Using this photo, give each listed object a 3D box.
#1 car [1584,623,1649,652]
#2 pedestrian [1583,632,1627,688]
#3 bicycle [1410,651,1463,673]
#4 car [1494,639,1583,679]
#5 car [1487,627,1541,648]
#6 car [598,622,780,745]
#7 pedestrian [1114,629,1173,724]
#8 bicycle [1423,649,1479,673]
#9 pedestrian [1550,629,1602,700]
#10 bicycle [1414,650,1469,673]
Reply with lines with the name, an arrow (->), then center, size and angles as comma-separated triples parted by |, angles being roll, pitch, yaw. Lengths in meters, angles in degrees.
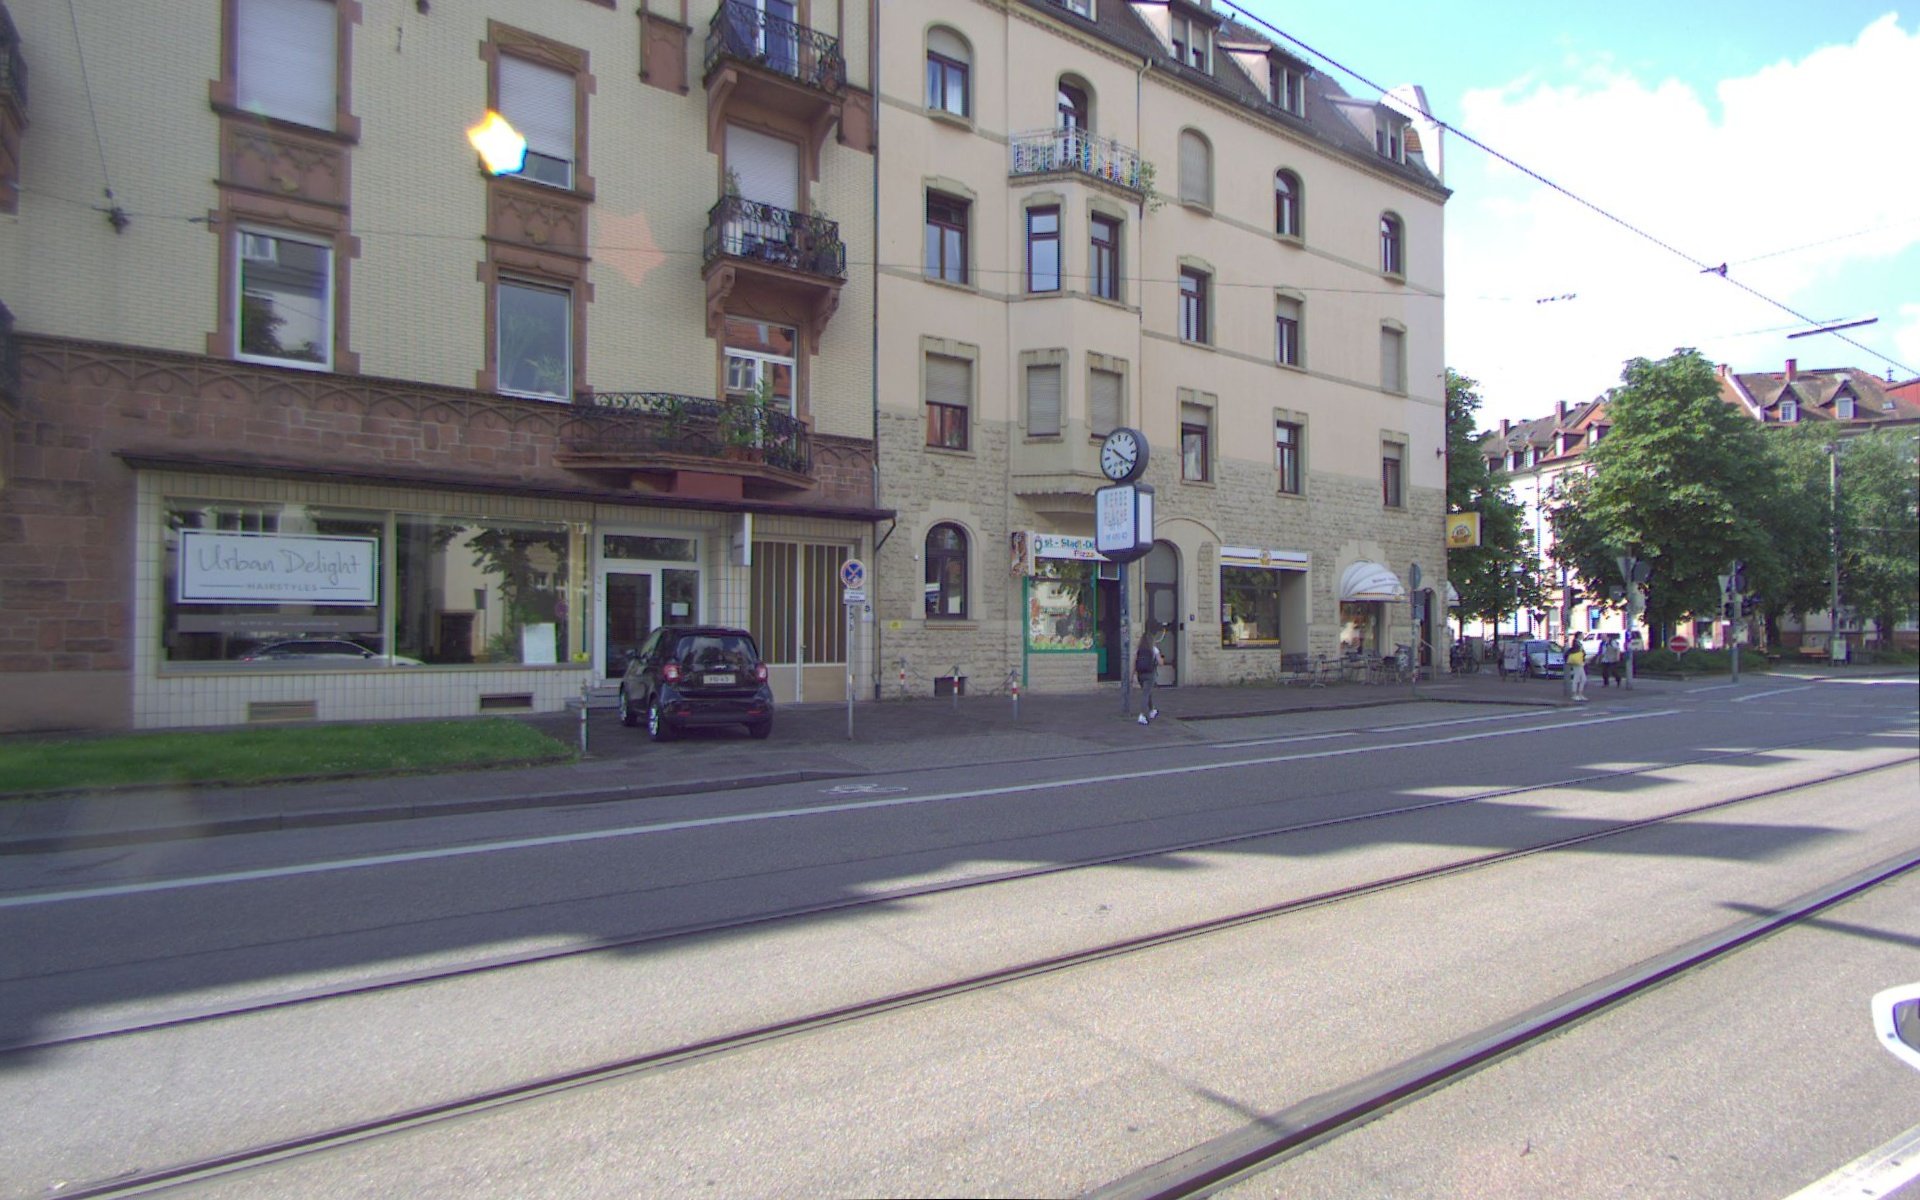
car -> 48.242, 2.740, 73.926 | 1.823, 2.015, 3.942 | 0, -2, -10
pedestrian -> 20.056, 1.847, 31.238 | 0.813, 1.694, 0.850 | 1, -2, -32
bicycle -> 20.577, 2.660, 43.359 | 1.990, 0.894, 0.512 | 1, -2, 13
car -> 22.104, 2.225, 38.540 | 1.686, 1.439, 3.876 | 0, -2, 10
car -> 46.058, 3.118, 83.642 | 1.882, 1.685, 3.934 | 0, -2, -11
car -> -4.111, 1.125, 14.887 | 1.687, 1.506, 3.425 | 1, 0, -32
pedestrian -> 3.266, 1.334, 17.814 | 0.683, 1.562, 0.961 | 3, 2, 30
bicycle -> 19.962, 2.465, 40.850 | 1.990, 0.894, 0.523 | 1, -2, 13
pedestrian -> 15.733, 1.641, 25.661 | 0.865, 1.727, 0.751 | 1, 2, -34
bicycle -> 20.208, 2.594, 42.177 | 1.990, 0.894, 0.512 | 1, -2, 13
